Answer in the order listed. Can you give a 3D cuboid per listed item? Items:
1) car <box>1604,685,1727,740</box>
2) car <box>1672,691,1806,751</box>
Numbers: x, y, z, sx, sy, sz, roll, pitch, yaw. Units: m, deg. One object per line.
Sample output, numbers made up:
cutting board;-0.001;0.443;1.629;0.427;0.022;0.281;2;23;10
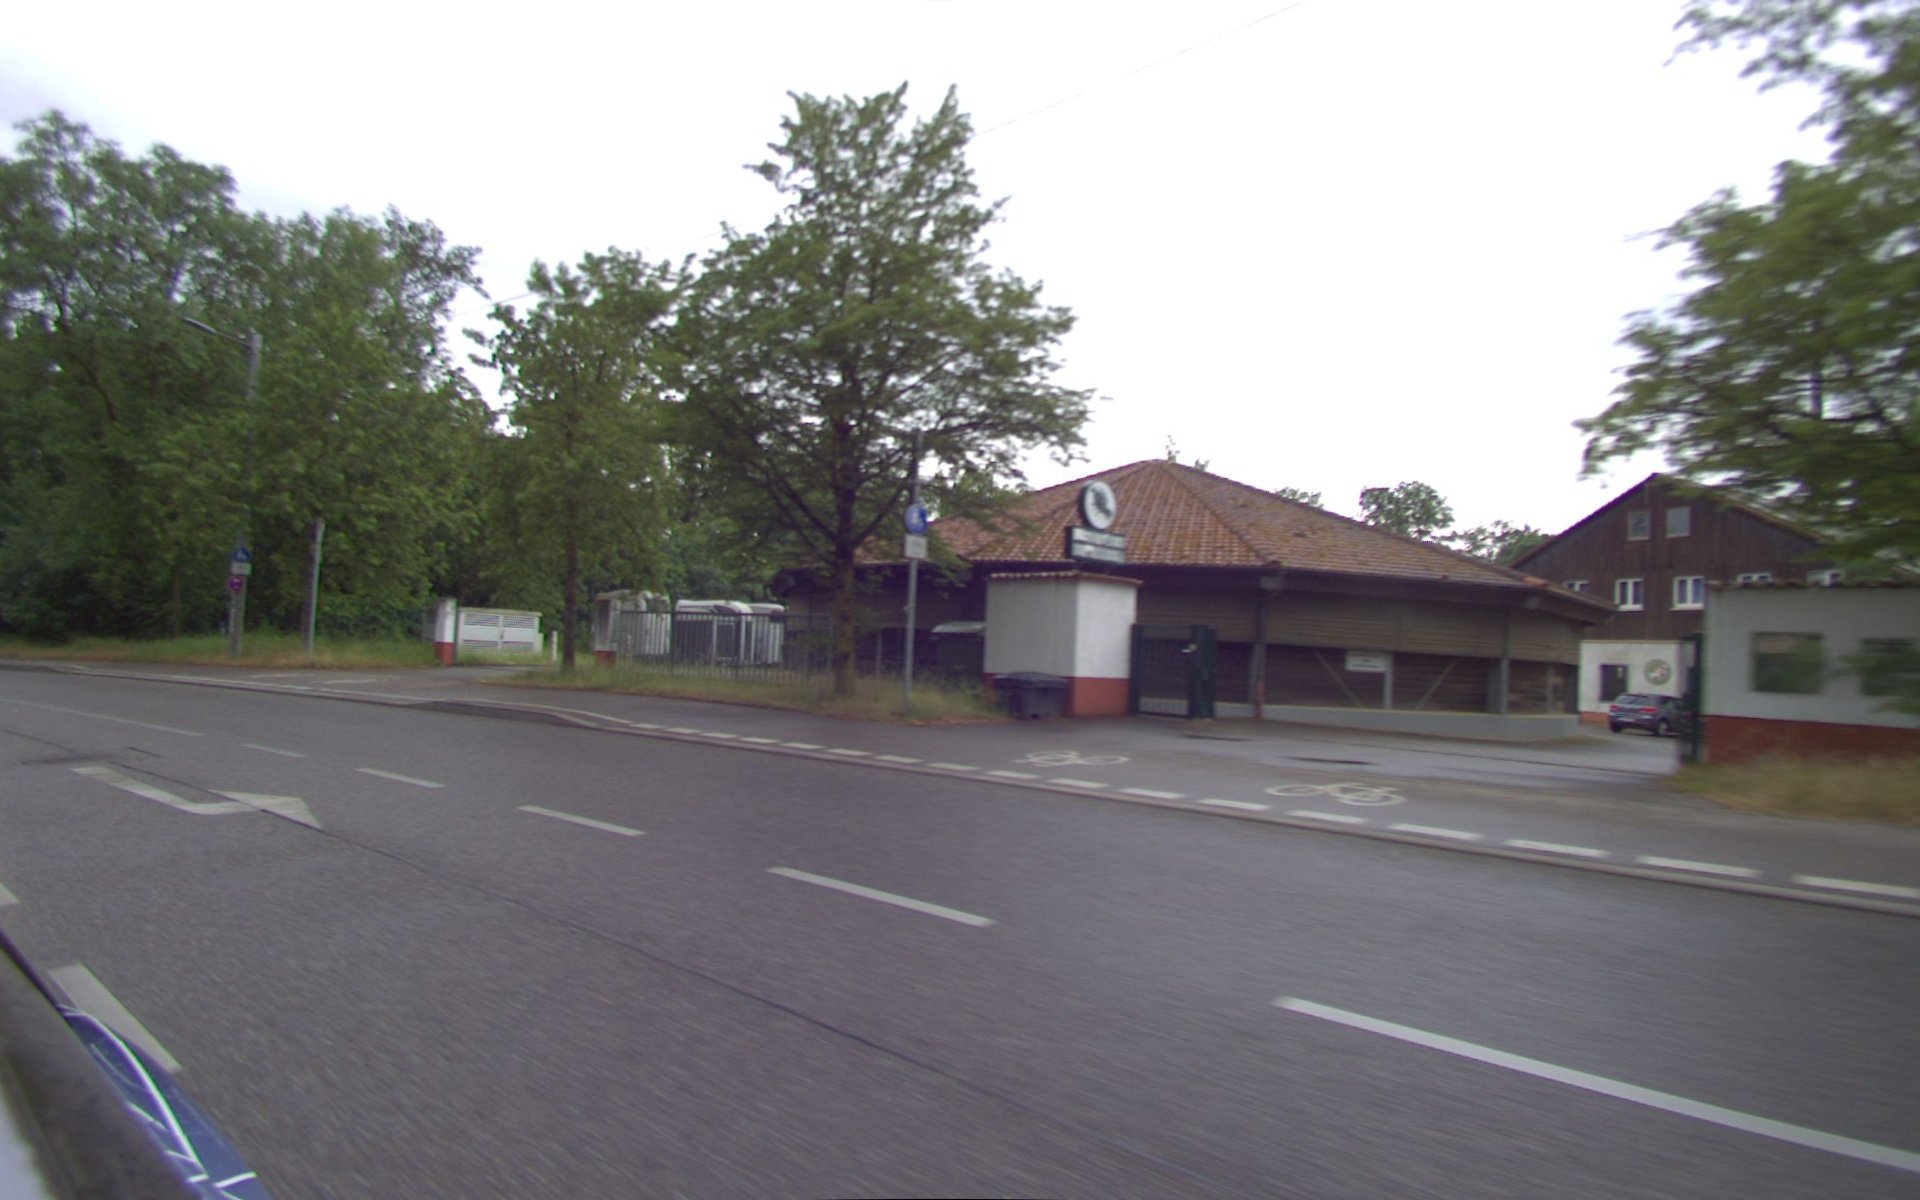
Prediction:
car;25.258;3.975;36.250;3.799;1.630;1.757;0;-1;-20
car;25.861;3.984;33.611;3.799;1.630;1.759;0;-1;-20
